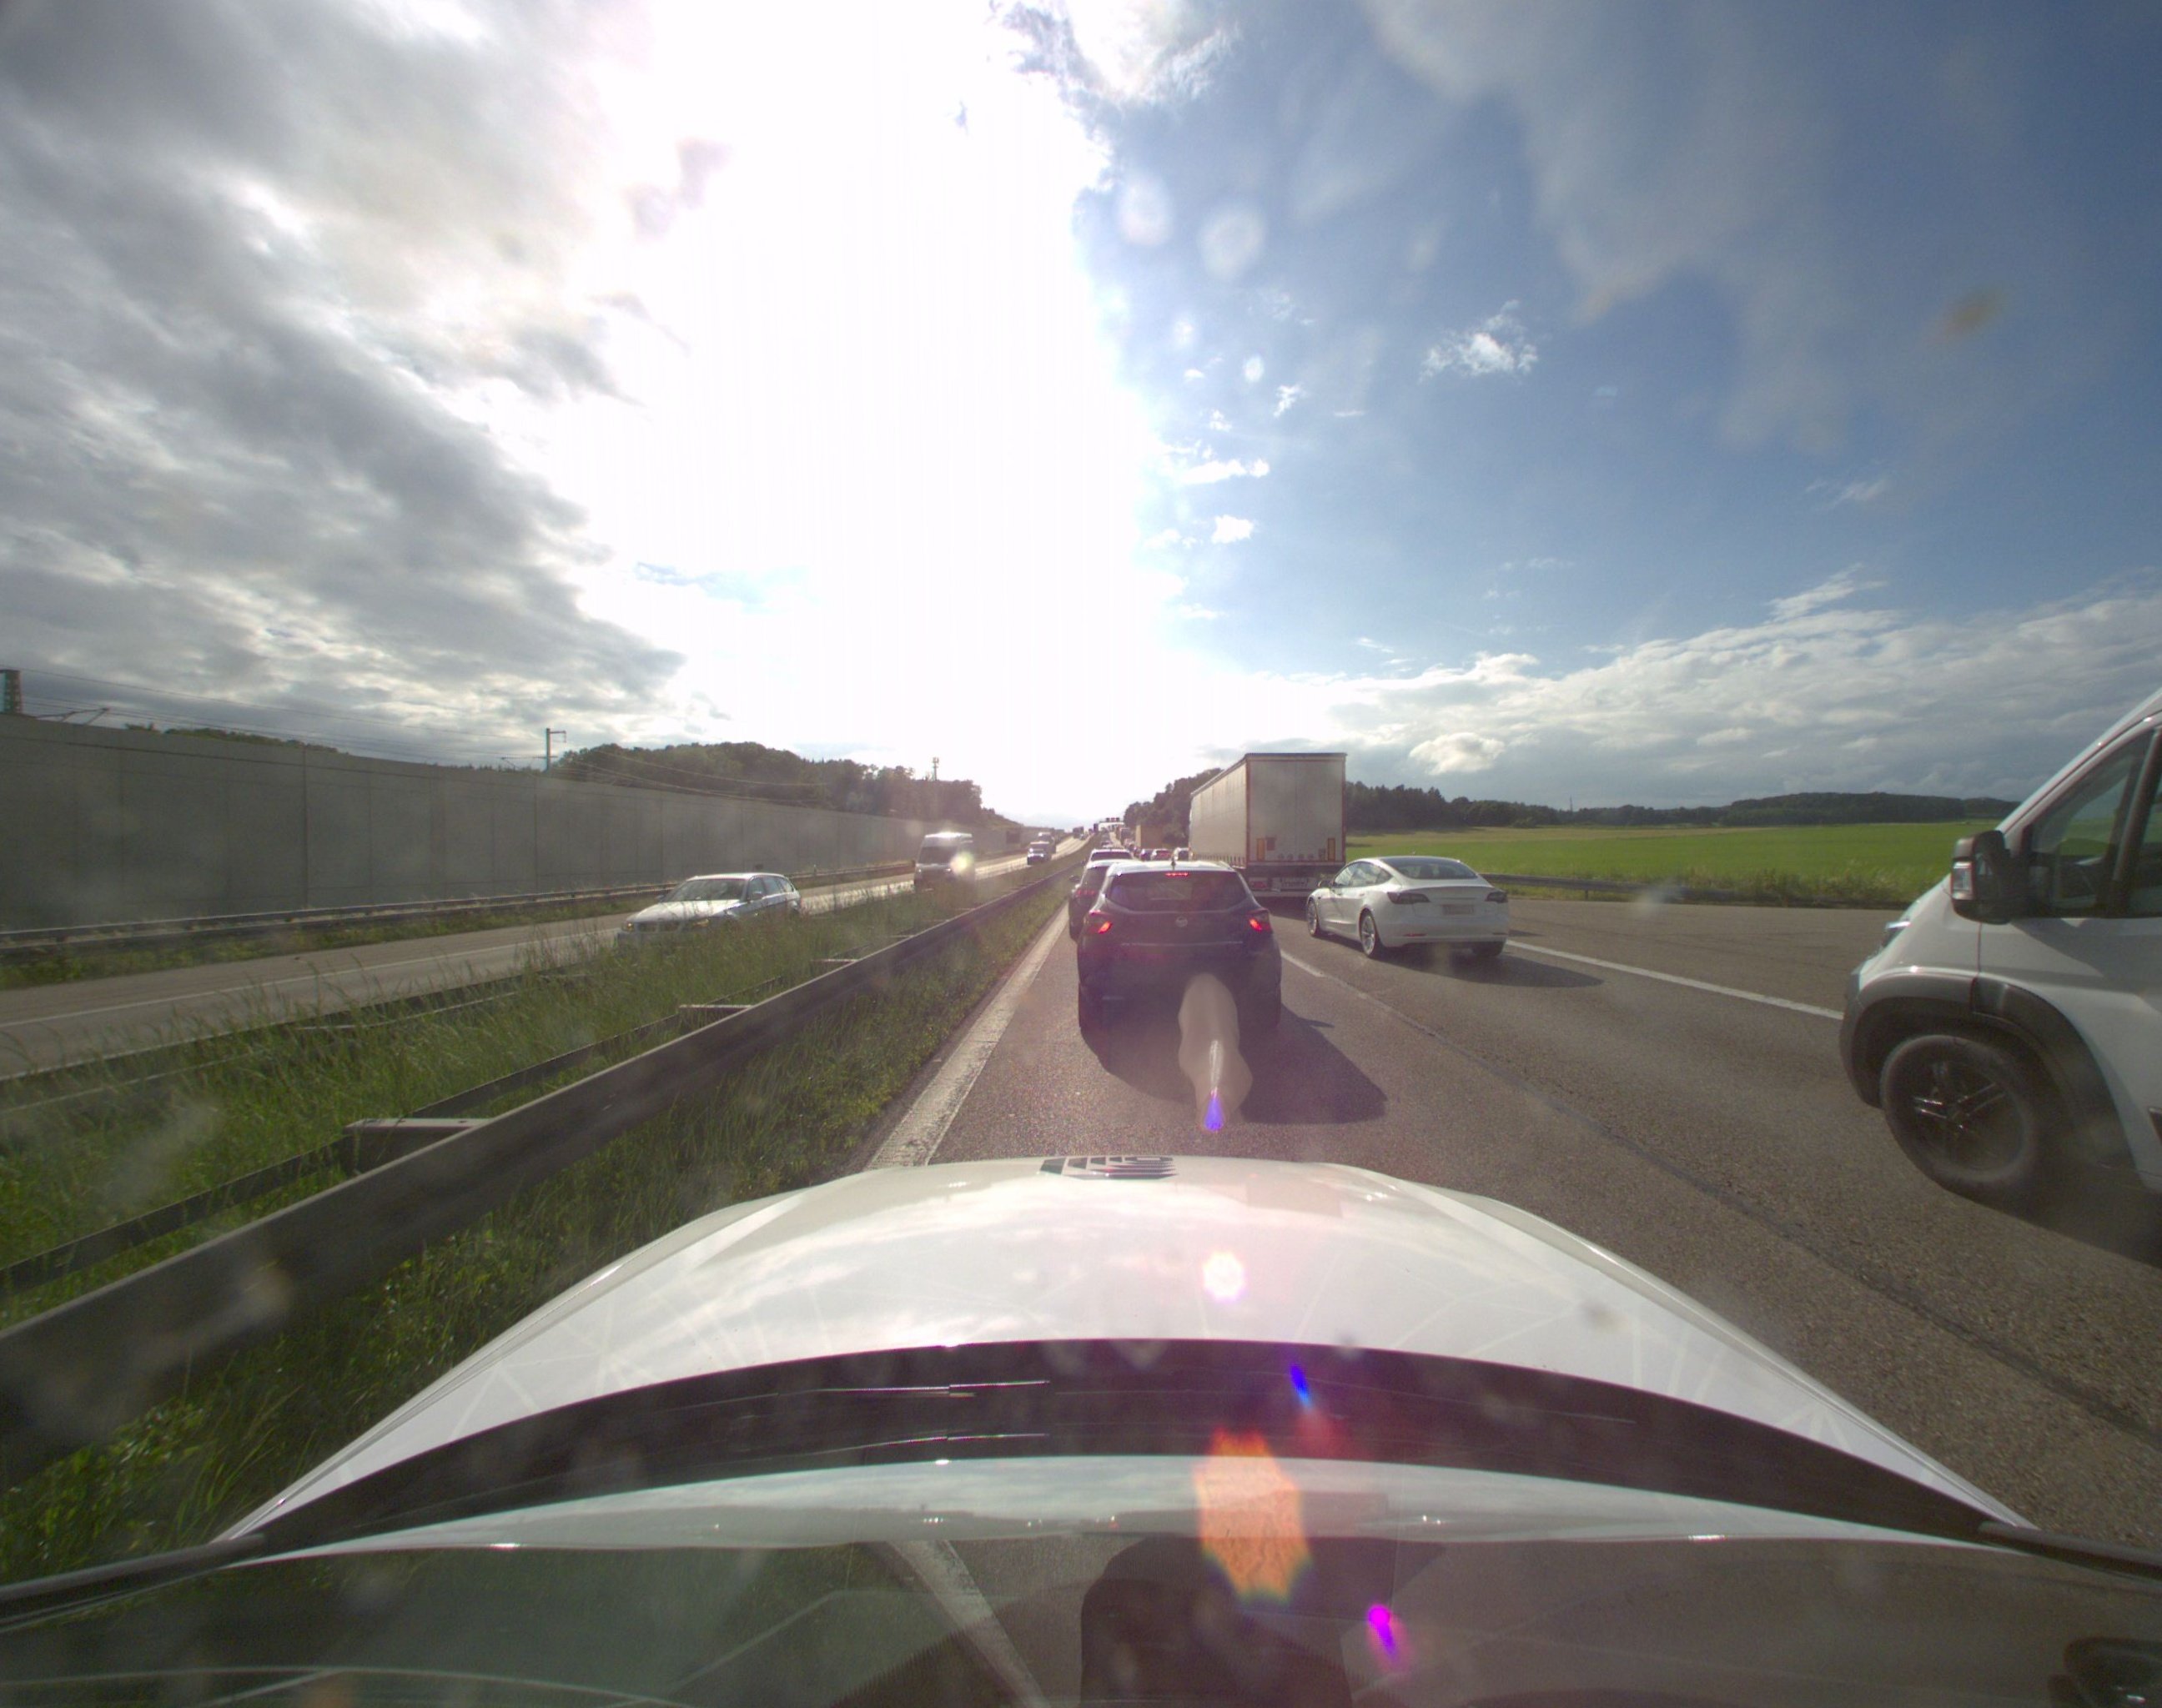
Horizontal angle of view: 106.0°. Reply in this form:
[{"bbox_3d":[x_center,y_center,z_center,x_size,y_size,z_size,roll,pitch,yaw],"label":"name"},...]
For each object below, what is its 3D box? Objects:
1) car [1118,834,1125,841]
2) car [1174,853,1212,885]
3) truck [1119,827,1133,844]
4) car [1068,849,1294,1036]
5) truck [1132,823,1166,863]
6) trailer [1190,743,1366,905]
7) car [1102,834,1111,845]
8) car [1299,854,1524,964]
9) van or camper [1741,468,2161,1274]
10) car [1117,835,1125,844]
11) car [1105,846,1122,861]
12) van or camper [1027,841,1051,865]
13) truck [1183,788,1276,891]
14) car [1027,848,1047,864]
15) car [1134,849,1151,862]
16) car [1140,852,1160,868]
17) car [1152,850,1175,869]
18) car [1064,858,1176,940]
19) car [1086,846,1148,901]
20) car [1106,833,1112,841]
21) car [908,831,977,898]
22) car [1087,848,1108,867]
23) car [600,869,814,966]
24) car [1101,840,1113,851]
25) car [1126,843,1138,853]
[{"bbox_3d":[12.662,-5.154,255.324,1.866,2.158,5.214,-1,3,2],"label":"car"},{"bbox_3d":[6.059,0.774,44.513,1.690,1.610,4.440,-1,0,3],"label":"car"},{"bbox_3d":[12.379,-5.052,225.764,3.452,4.576,12.442,0,1,1],"label":"truck"},{"bbox_3d":[0.872,0.718,8.619,1.766,1.451,4.234,-1,0,2],"label":"car"},{"bbox_3d":[8.252,-1.199,100.786,3.286,4.577,12.440,0,-1,1],"label":"truck"},{"bbox_3d":[5.813,-0.631,27.053,3.118,4.011,13.373,-1,-1,2],"label":"trailer"},{"bbox_3d":[5.595,-3.162,179.130,1.866,2.158,5.214,-1,3,2],"label":"car"},{"bbox_3d":[4.879,0.712,12.777,1.782,1.394,4.437,-1,0,1],"label":"car"},{"bbox_3d":[4.661,0.036,1.256,2.207,2.681,6.334,-1,0,1],"label":"van or camper"},{"bbox_3d":[9.911,-3.538,200.204,1.866,2.158,5.214,-1,3,2],"label":"car"},{"bbox_3d":[3.765,-0.085,95.337,1.866,1.644,4.235,-1,1,2],"label":"car"},{"bbox_3d":[-4.830,-0.076,95.340,2.244,2.704,7.172,-1,0,1],"label":"van or camper"},{"bbox_3d":[6.135,-0.522,34.431,3.121,4.016,5.166,-1,-1,2],"label":"truck"},{"bbox_3d":[-4.817,0.255,89.561,1.903,1.671,4.363,-1,0,1],"label":"car"},{"bbox_3d":[8.409,0.183,111.773,1.867,1.644,4.231,-1,0,0],"label":"car"},{"bbox_3d":[7.361,0.612,87.301,1.866,1.644,4.234,-1,0,2],"label":"car"},{"bbox_3d":[7.853,0.507,77.828,1.866,1.644,4.234,-1,1,2],"label":"car"},{"bbox_3d":[0.734,0.777,15.970,1.866,1.358,4.234,-1,0,2],"label":"car"},{"bbox_3d":[1.176,0.595,27.029,1.866,1.644,4.234,-1,0,2],"label":"car"},{"bbox_3d":[8.635,-5.260,252.178,1.866,2.158,5.214,-1,3,2],"label":"car"},{"bbox_3d":[-6.377,0.459,38.311,2.096,2.870,5.637,-2,0,1],"label":"car"},{"bbox_3d":[1.569,0.319,76.945,1.866,1.644,4.234,-1,1,2],"label":"car"},{"bbox_3d":[-6.670,1.057,15.117,1.866,1.451,4.234,-1,0,2],"label":"car"},{"bbox_3d":[4.319,-1.470,135.630,1.867,1.644,4.233,-1,1,1],"label":"car"},{"bbox_3d":[8.961,-1.101,143.176,1.868,1.644,4.230,-1,1,-1],"label":"car"}]
